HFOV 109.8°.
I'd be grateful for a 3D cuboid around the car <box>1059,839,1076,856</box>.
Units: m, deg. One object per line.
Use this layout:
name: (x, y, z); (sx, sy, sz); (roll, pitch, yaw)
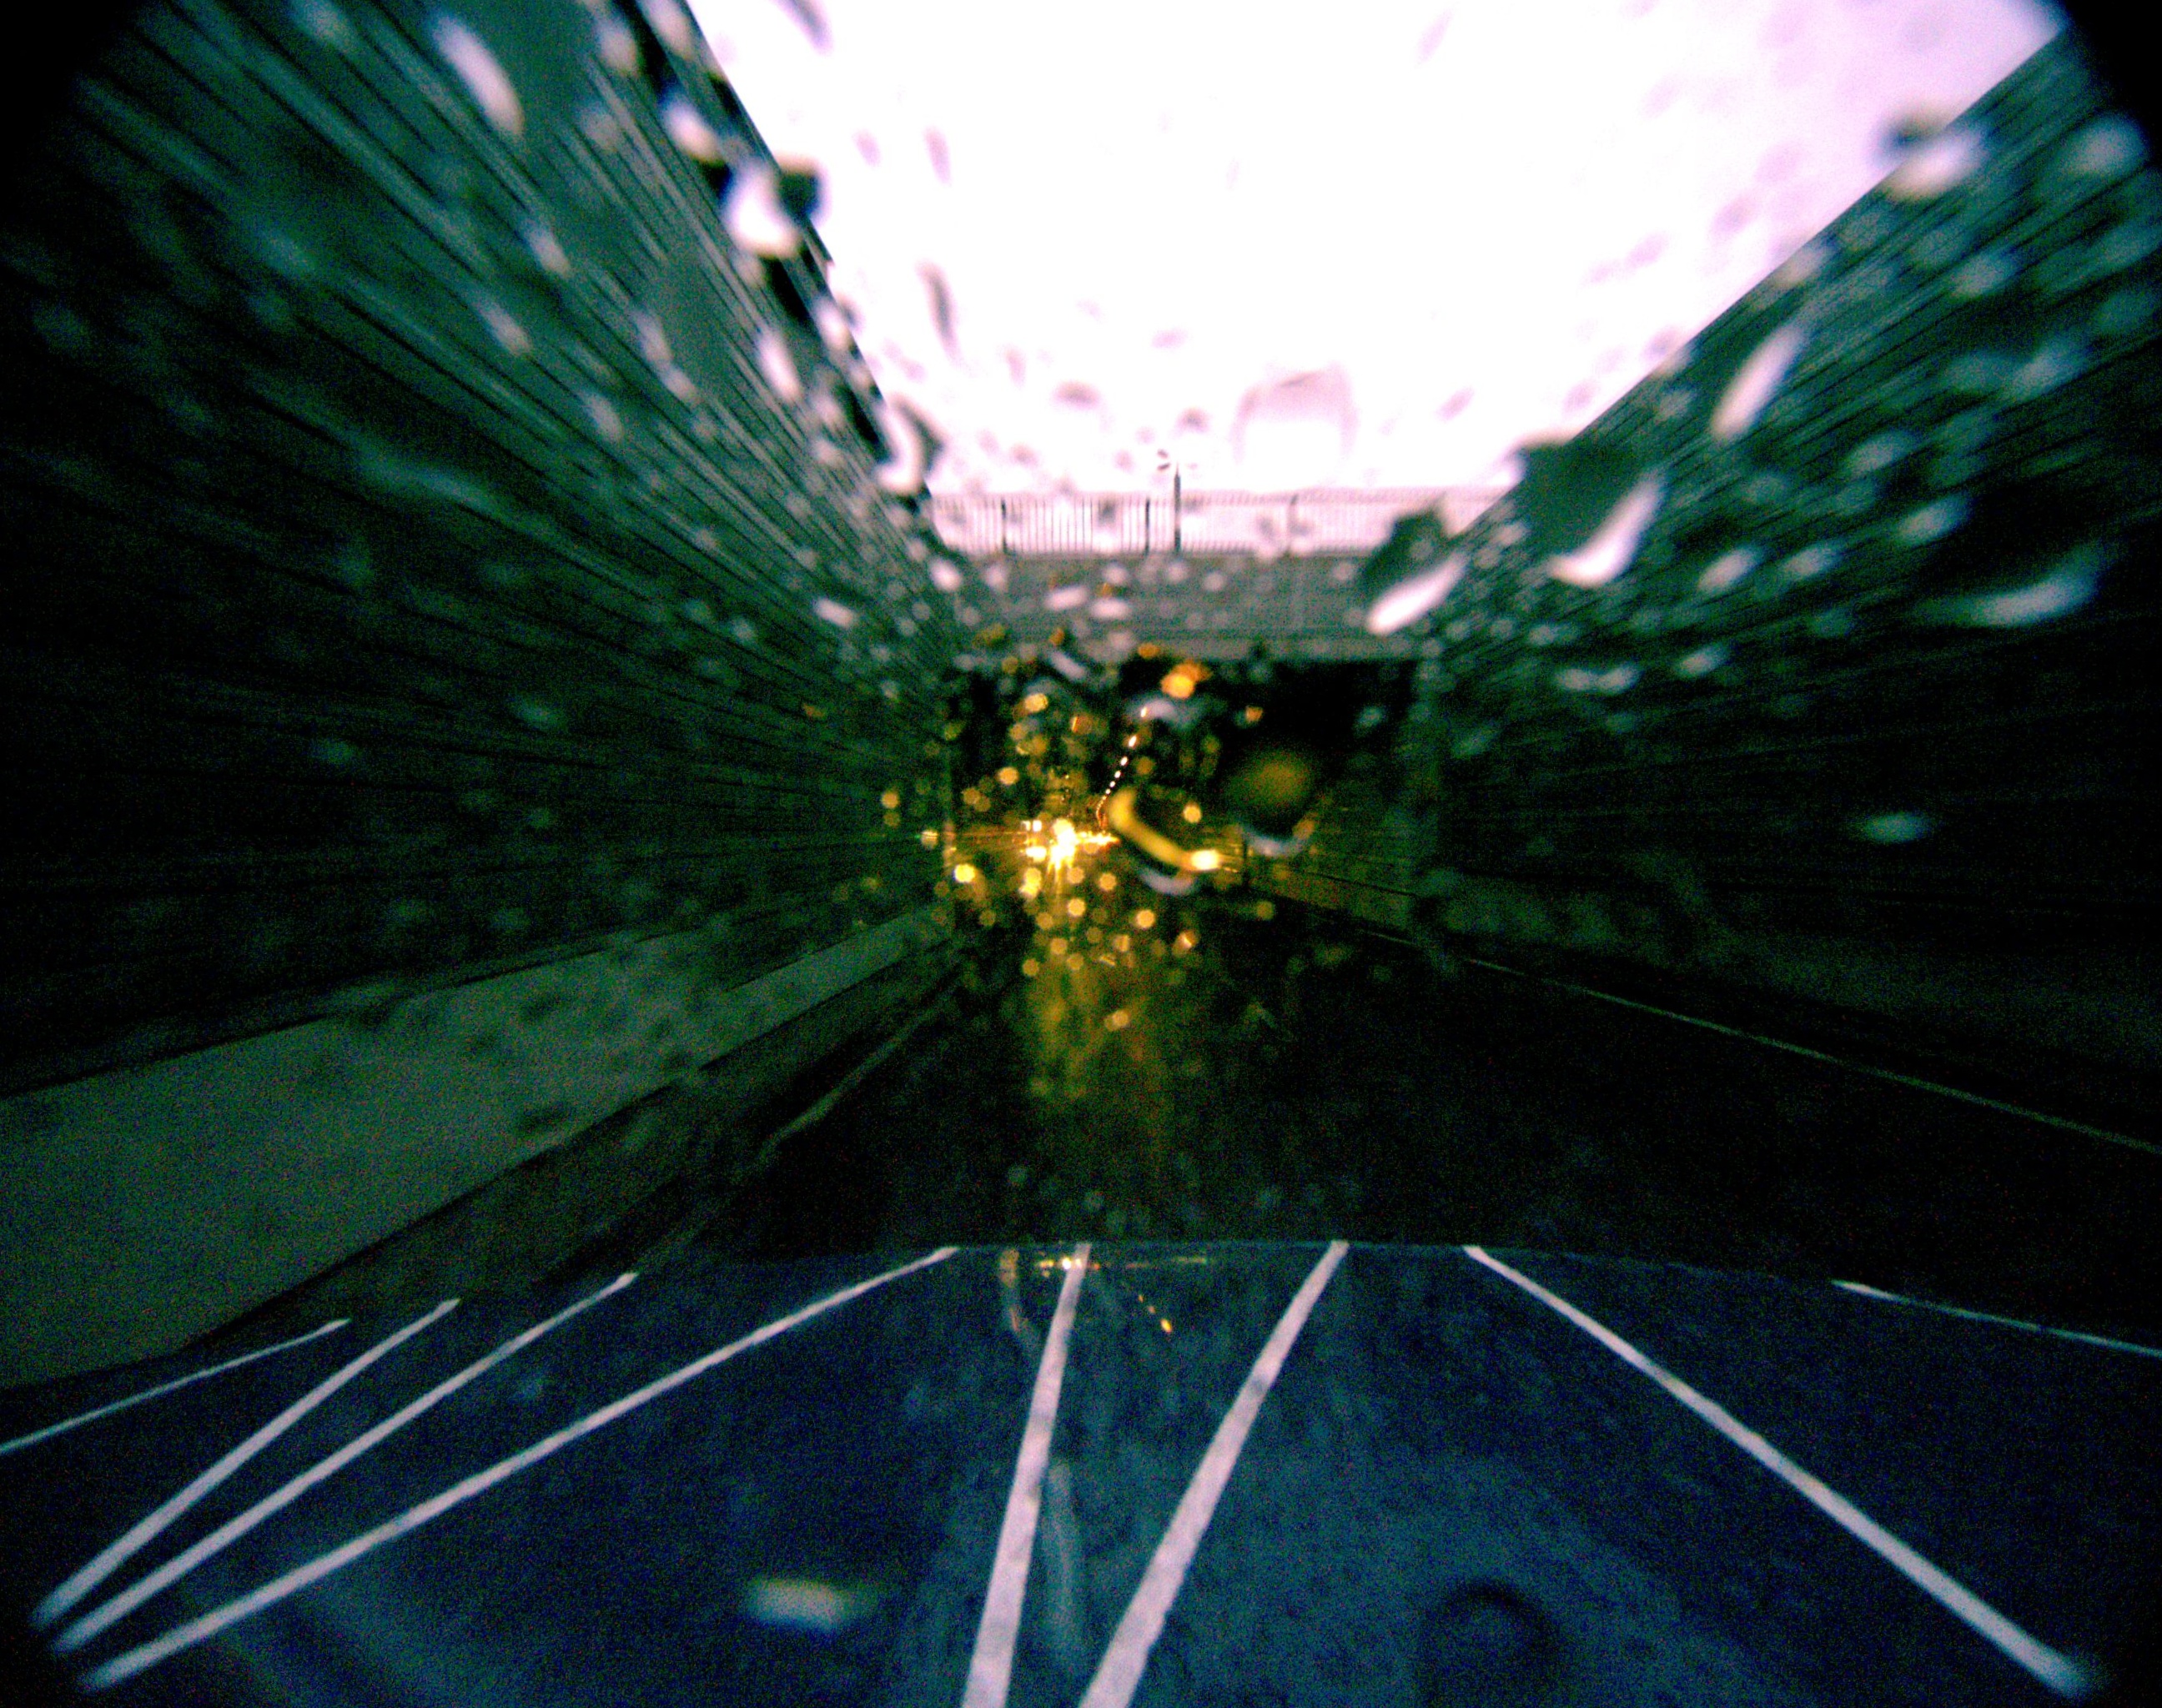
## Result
car: (-1.761, -0.837, 96.966); (2.031, 2.017, 4.423); (-1, 1, -1)
